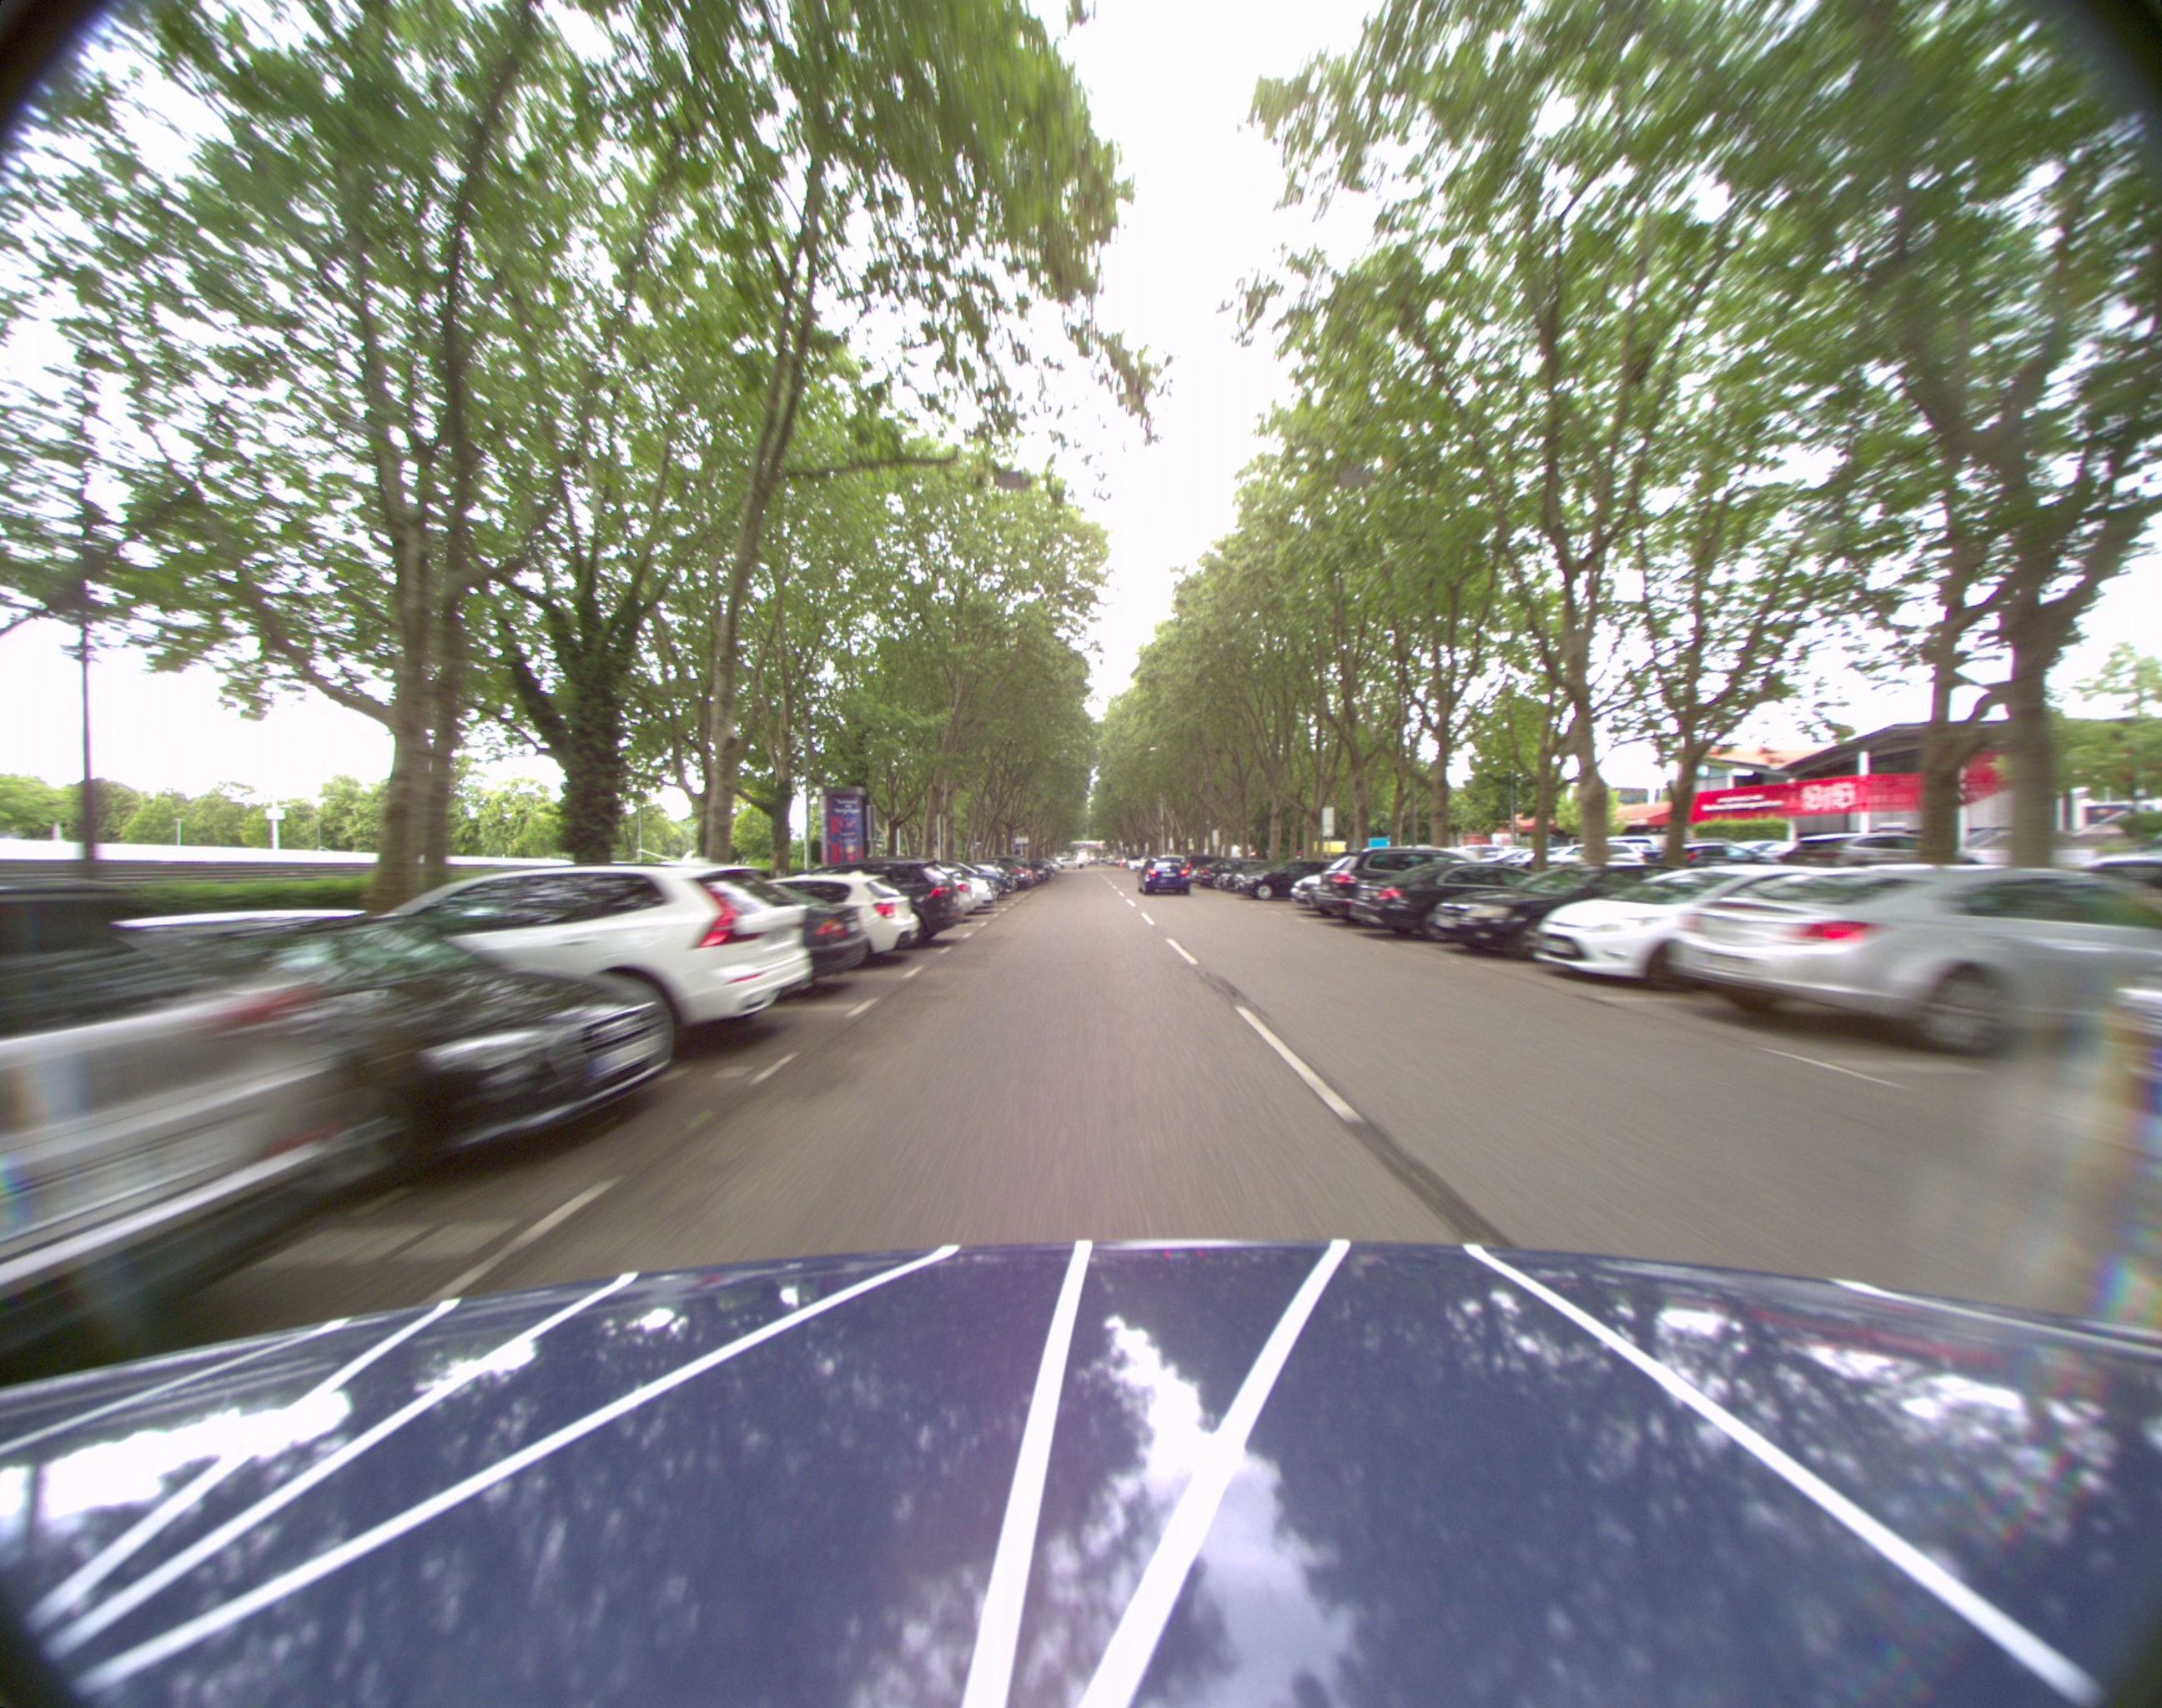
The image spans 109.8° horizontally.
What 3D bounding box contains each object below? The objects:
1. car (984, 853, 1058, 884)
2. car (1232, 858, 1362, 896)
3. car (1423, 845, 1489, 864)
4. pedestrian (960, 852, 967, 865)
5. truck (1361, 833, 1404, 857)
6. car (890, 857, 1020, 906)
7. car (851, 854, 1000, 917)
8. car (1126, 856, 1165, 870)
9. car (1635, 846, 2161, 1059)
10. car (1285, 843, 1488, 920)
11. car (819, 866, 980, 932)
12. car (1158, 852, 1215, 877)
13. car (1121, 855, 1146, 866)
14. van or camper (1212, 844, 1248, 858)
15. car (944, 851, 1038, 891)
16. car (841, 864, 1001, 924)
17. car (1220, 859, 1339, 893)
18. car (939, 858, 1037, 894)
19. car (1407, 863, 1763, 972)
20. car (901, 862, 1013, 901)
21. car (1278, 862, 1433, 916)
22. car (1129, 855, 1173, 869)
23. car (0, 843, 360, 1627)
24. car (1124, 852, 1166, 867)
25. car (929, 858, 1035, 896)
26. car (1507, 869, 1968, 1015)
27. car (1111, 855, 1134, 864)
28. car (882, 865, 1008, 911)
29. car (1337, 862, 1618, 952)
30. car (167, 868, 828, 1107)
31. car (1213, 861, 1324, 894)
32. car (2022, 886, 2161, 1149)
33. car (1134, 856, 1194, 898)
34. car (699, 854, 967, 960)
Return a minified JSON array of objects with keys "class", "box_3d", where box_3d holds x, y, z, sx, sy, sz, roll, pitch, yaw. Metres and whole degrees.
[{"class":"car","box_3d":[-3.823,0.932,48.813,4.507,1.786,2.047,-3,0,0]},{"class":"car","box_3d":[8.211,0.861,29.198,4.474,1.361,1.880,0,0,0]},{"class":"car","box_3d":[34.358,0.021,69.656,4.954,1.512,2.183,-2,1,-1]},{"class":"pedestrian","box_3d":[-15.238,0.582,98.735,0.724,1.558,0.698,-2,1,7]},{"class":"truck","box_3d":[35.307,-1.034,89.095,3.997,2.701,2.376,-2,1,-1]},{"class":"car","box_3d":[-4.812,1.030,29.386,4.602,1.629,1.873,-3,0,2]},{"class":"car","box_3d":[-4.915,0.977,24.433,4.358,1.735,1.837,-3,0,-1]},{"class":"car","box_3d":[7.528,1.028,88.825,4.419,1.616,2.047,0,0,-1]},{"class":"car","box_3d":[7.660,0.748,6.620,4.275,1.539,1.908,1,1,-2]},{"class":"car","box_3d":[7.578,0.668,19.104,4.329,1.799,1.867,1,0,-3]},{"class":"car","box_3d":[-4.485,1.103,19.189,3.649,1.418,1.665,-3,0,-3]},{"class":"car","box_3d":[7.829,0.759,56.858,3.996,1.672,1.855,-2,1,1]},{"class":"car","box_3d":[7.471,0.897,108.993,3.565,1.569,1.847,1,0,2]},{"class":"van or camper","box_3d":[24.022,-0.499,122.946,5.299,2.087,2.244,-2,1,-2]},{"class":"car","box_3d":[-4.648,0.874,39.642,4.505,1.786,2.048,-3,0,4]},{"class":"car","box_3d":[-4.524,1.114,21.912,4.159,1.449,1.727,-3,0,1]},{"class":"car","box_3d":[8.120,0.893,31.393,4.474,1.340,1.902,0,0,2]},{"class":"car","box_3d":[-4.455,1.039,36.866,4.356,1.493,1.926,-3,0,3]},{"class":"car","box_3d":[7.565,0.902,11.725,4.200,1.346,1.967,-2,1,-2]},{"class":"car","box_3d":[-5.159,1.122,32.044,4.357,1.405,1.926,-3,0,1]},{"class":"car","box_3d":[7.831,0.971,21.804,3.795,1.463,1.763,1,0,-10]},{"class":"car","box_3d":[7.253,0.809,78.936,4.419,1.416,1.776,0,0,-1]},{"class":"car","box_3d":[-4.797,1.061,1.909,3.997,2.002,2.000,-3,0,1]},{"class":"car","box_3d":[7.220,0.632,86.014,4.420,1.616,2.047,0,0,-2]},{"class":"car","box_3d":[-4.433,1.018,34.329,4.355,1.493,1.926,-3,0,7]},{"class":"car","box_3d":[7.717,0.981,9.246,3.997,1.396,1.885,-2,1,-1]},{"class":"car","box_3d":[7.308,0.999,133.865,4.039,1.518,1.800,1,-1,2]},{"class":"car","box_3d":[-4.735,1.165,26.815,4.050,1.372,1.744,-3,0,1]},{"class":"car","box_3d":[7.186,0.924,14.152,4.138,1.443,2.014,1,0,2]},{"class":"car","box_3d":[-4.801,1.049,6.785,4.357,1.624,1.926,-3,0,1]},{"class":"car","box_3d":[8.325,1.039,33.946,4.475,1.358,1.859,1,0,-1]},{"class":"car","box_3d":[7.958,0.873,3.878,3.997,1.397,1.862,-2,1,0]},{"class":"car","box_3d":[3.249,0.859,30.435,1.847,1.501,4.014,-1,1,-1]},{"class":"car","box_3d":[-4.460,0.921,14.217,4.357,1.750,1.925,-1,0,-1]}]
